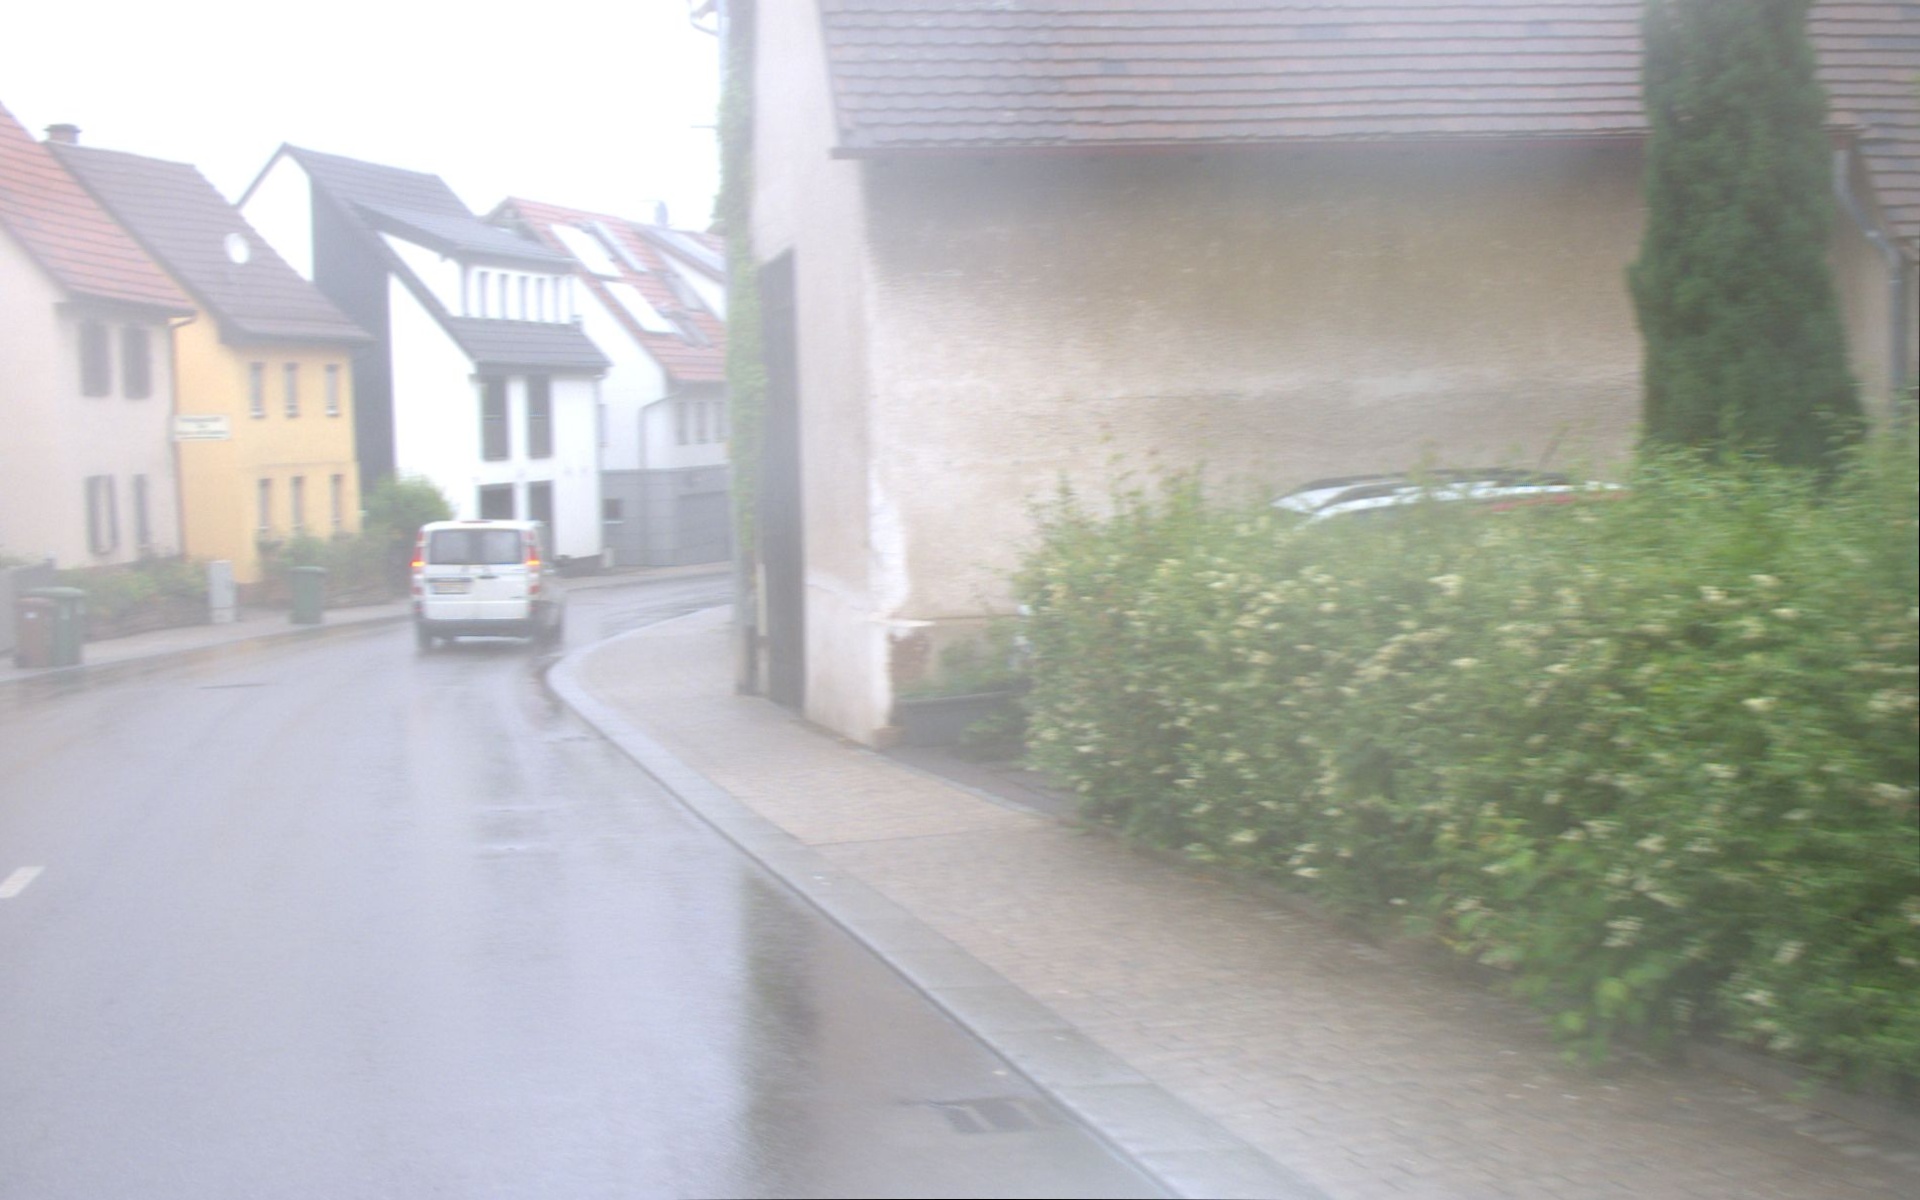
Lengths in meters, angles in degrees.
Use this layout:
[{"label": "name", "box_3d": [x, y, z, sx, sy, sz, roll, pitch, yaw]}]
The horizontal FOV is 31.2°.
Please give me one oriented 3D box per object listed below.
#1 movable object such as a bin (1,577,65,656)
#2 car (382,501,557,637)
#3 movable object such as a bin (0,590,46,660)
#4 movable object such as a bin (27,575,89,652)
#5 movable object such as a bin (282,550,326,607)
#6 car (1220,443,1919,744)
[{"label": "movable object such as a bin", "box_3d": [-12.597, 0.218, 46.720, 0.681, 1.063, 0.695, 0, 1, -1]}, {"label": "car", "box_3d": [-7.159, -0.482, 50.594, 2.194, 1.845, 4.305, -2, 1, -4]}, {"label": "movable object such as a bin", "box_3d": [-12.542, 0.331, 45.983, 0.506, 0.919, 0.579, 0, 1, -3]}, {"label": "movable object such as a bin", "box_3d": [-12.466, 0.183, 47.515, 0.681, 1.042, 0.661, 0, 1, -1]}, {"label": "movable object such as a bin", "box_3d": [-12.303, -0.408, 64.465, 0.659, 1.052, 0.763, 1, 1, 1]}, {"label": "car", "box_3d": [4.005, -0.077, 22.365, 4.216, 1.643, 1.903, -3, 2, -9]}]
